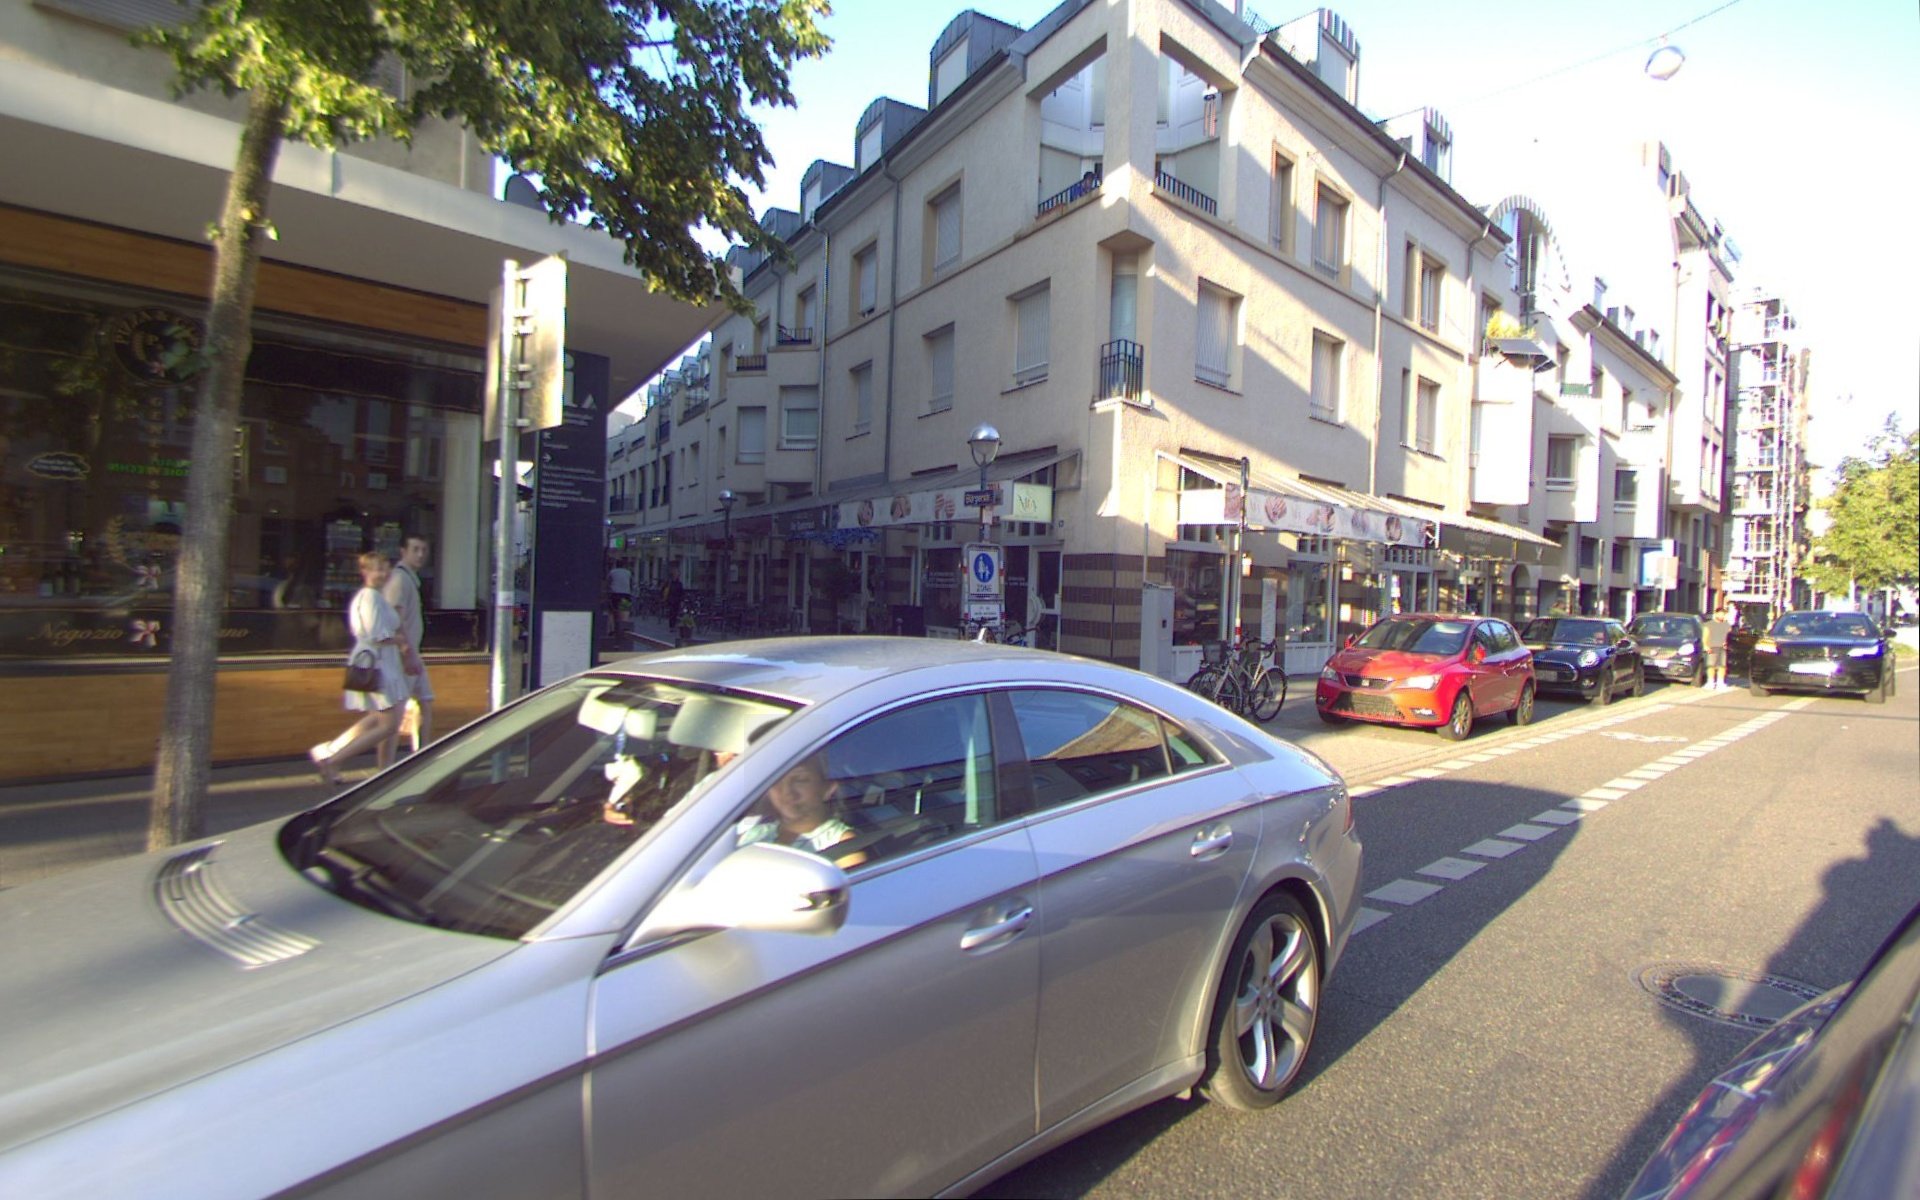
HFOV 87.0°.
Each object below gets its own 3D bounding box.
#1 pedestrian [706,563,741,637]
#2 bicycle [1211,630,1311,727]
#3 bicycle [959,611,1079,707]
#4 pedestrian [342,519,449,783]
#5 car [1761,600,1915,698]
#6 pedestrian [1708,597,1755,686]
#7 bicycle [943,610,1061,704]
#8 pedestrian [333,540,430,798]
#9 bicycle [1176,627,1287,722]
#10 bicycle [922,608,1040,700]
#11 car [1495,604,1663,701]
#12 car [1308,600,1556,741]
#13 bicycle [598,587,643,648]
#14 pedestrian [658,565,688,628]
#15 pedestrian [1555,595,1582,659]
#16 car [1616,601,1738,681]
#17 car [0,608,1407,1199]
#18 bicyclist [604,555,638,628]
[{"bbox_3d":[-5.610,-0.012,24.028,0.688,1.696,0.799,2,2,-8],"label":"pedestrian"},{"bbox_3d":[3.658,0.918,12.230,1.636,1.059,0.315,1,2,-42],"label":"bicycle"},{"bbox_3d":[0.781,0.714,12.778,1.848,1.118,0.321,0,1,-44],"label":"bicycle"},{"bbox_3d":[-4.017,0.335,7.199,0.494,1.779,0.544,1,3,-44],"label":"pedestrian"},{"bbox_3d":[16.912,0.857,19.424,4.157,1.656,1.887,1,0,-44],"label":"car"},{"bbox_3d":[16.045,0.848,21.034,0.659,1.771,0.630,1,1,-44],"label":"pedestrian"},{"bbox_3d":[0.574,0.702,13.005,1.856,1.118,0.291,0,1,-44],"label":"bicycle"},{"bbox_3d":[-3.835,0.428,6.702,0.401,1.612,0.520,1,3,-44],"label":"pedestrian"},{"bbox_3d":[3.361,0.880,12.419,1.849,1.059,0.315,1,2,-42],"label":"bicycle"},{"bbox_3d":[0.308,0.673,13.324,1.848,1.118,0.321,0,1,-44],"label":"bicycle"},{"bbox_3d":[10.975,0.851,17.833,3.861,1.452,1.618,1,1,-45],"label":"car"},{"bbox_3d":[6.130,0.789,12.940,3.861,1.452,1.590,1,2,-45],"label":"car"},{"bbox_3d":[-6.974,0.334,20.727,0.455,1.161,1.981,4,-1,-29],"label":"bicycle"},{"bbox_3d":[-7.746,-0.099,27.347,0.641,1.675,0.568,1,0,-27],"label":"pedestrian"},{"bbox_3d":[17.544,0.760,29.165,0.442,1.823,0.575,1,-1,-43],"label":"pedestrian"},{"bbox_3d":[16.363,0.870,23.032,3.861,1.612,1.618,1,1,-45],"label":"car"},{"bbox_3d":[-0.610,0.742,2.660,4.563,1.419,1.743,1,0,-45],"label":"car"},{"bbox_3d":[-6.996,-0.173,20.868,0.453,1.453,0.719,4,-1,-29],"label":"bicyclist"}]
